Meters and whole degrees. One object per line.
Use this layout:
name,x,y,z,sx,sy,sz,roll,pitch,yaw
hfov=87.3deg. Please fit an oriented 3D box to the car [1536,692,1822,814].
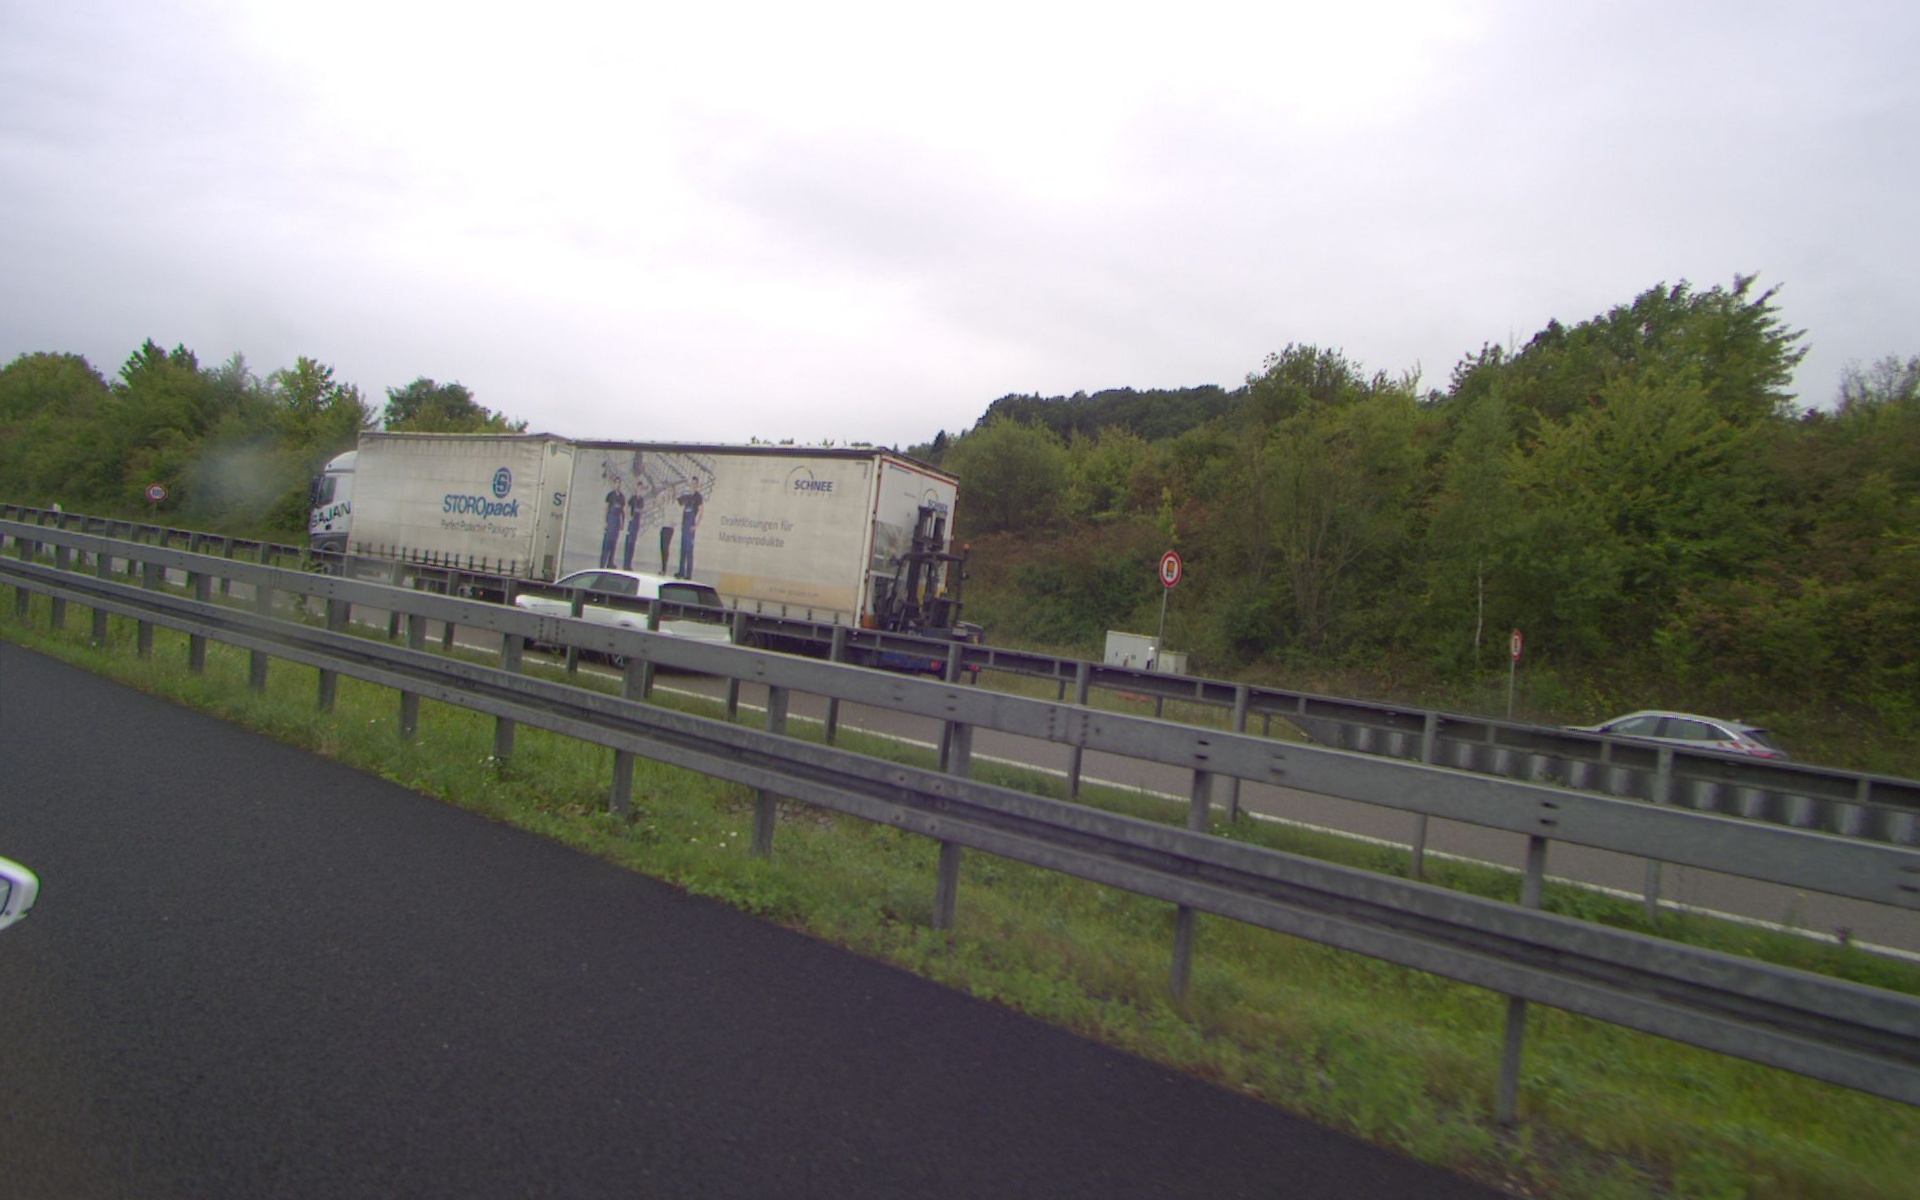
car,14.650,3.039,20.676,4.441,1.633,1.856,6,-1,45

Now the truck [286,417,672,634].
truck,-12.326,-1.999,25.288,10.245,4.341,3.442,7,0,32

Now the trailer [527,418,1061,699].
trailer,-3.607,-0.988,19.813,10.281,4.341,3.442,7,0,32

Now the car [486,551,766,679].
car,-5.299,0.216,15.853,4.088,1.465,1.863,7,-1,31
